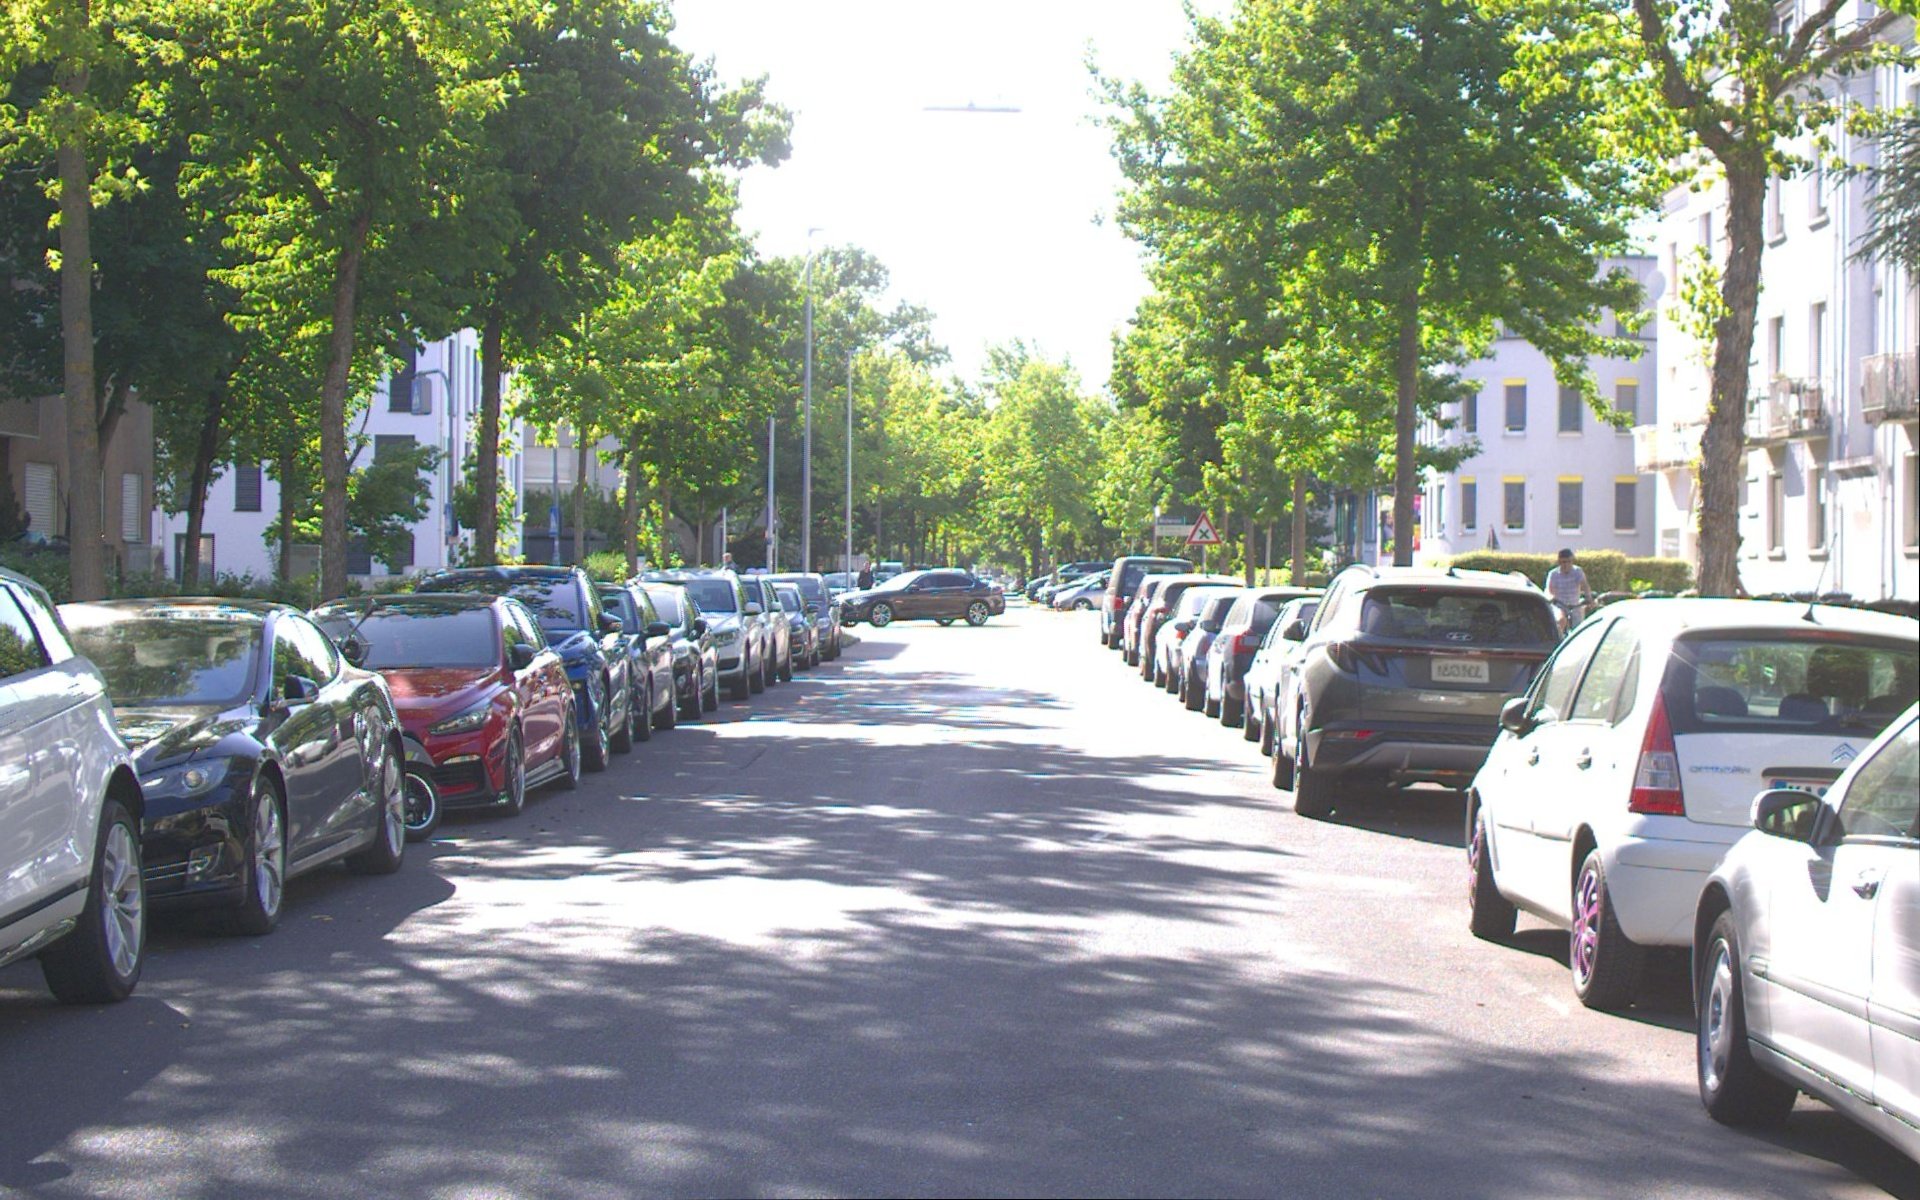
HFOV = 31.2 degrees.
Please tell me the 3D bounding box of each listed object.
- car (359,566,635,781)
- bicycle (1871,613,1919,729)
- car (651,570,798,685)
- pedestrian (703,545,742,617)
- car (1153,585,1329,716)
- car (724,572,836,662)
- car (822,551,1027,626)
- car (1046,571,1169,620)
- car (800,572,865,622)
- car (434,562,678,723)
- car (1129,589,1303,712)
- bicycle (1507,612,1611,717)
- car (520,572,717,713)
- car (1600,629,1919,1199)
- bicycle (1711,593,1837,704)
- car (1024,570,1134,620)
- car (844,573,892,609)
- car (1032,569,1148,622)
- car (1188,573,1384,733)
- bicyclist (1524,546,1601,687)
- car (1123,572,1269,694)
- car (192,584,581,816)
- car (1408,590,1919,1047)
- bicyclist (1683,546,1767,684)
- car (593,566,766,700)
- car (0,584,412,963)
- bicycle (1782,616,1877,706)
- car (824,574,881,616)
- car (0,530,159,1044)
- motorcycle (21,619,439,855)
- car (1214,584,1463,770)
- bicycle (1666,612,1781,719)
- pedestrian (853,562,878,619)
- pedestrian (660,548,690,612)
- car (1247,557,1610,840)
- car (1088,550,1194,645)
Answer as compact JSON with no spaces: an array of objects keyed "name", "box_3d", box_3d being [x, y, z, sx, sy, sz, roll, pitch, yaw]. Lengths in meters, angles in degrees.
[{"name":"car","box_3d":[-3.708,0.540,28.189,1.789,1.561,4.466,-2,0,-2]},{"name":"bicycle","box_3d":[9.675,0.699,33.830,0.803,1.111,2.000,1,0,-2]},{"name":"car","box_3d":[-3.315,0.369,49.018,1.710,1.539,3.930,-1,0,1]},{"name":"pedestrian","box_3d":[-6.597,-0.532,95.705,0.859,2.007,0.981,1,0,9]},{"name":"car","box_3d":[3.349,0.573,41.555,1.788,1.448,3.782,2,0,0]},{"name":"car","box_3d":[-3.304,0.299,63.803,1.839,1.589,4.262,-1,0,0]},{"name":"car","box_3d":[-0.923,-0.294,90.797,5.070,1.816,2.000,1,0,-33]},{"name":"car","box_3d":[4.966,-0.159,116.233,3.986,1.582,1.727,1,0,-3]},{"name":"car","box_3d":[-4.352,-0.128,117.965,1.993,1.665,4.000,1,1,1]},{"name":"car","box_3d":[-3.822,0.372,33.142,1.829,1.448,4.122,0,0,0]},{"name":"car","box_3d":[3.453,0.655,47.149,1.897,1.469,4.699,4,0,-1]},{"name":"bicycle","box_3d":[6.912,0.732,39.748,0.683,1.149,2.403,0,0,-2]},{"name":"car","box_3d":[-3.707,0.435,37.887,1.762,1.439,3.909,-1,0,0]},{"name":"car","box_3d":[2.925,0.852,8.398,1.710,1.406,4.862,2,0,-1]},{"name":"bicycle","box_3d":[9.635,0.559,40.780,0.838,1.253,2.231,1,0,-3]},{"name":"car","box_3d":[4.436,-0.184,128.791,3.986,1.824,2.000,1,0,-1]},{"name":"car","box_3d":[-4.145,-0.405,155.043,1.993,1.579,4.000,1,1,1]},{"name":"car","box_3d":[4.582,-0.176,121.461,3.986,1.799,1.890,1,0,-1]},{"name":"car","box_3d":[3.432,0.520,36.859,1.692,1.535,4.441,2,1,1]},{"name":"bicyclist","box_3d":[6.924,0.188,39.567,0.677,1.604,0.922,0,0,-2]},{"name":"car","box_3d":[3.622,0.474,53.380,1.907,1.693,4.313,4,1,1]},{"name":"car","box_3d":[-3.707,0.595,22.933,1.779,1.374,4.262,-1,0,1]},{"name":"car","box_3d":[2.985,0.778,14.125,1.654,1.527,3.969,3,0,-1]},{"name":"bicyclist","box_3d":[8.700,0.163,39.115,0.676,1.548,1.022,0,0,-2]},{"name":"car","box_3d":[-3.478,0.383,43.318,1.811,1.590,4.233,0,0,0]},{"name":"car","box_3d":[-3.867,0.704,16.084,1.728,1.472,4.619,-3,0,1]},{"name":"bicycle","box_3d":[9.691,0.673,38.379,0.595,0.954,1.903,0,0,1]},{"name":"car","box_3d":[-4.144,-0.205,133.252,1.993,1.579,4.000,1,1,1]},{"name":"car","box_3d":[-3.901,0.621,10.741,1.728,1.612,4.366,-3,0,0]},{"name":"motorcycle","box_3d":[-4.156,0.767,19.718,2.285,1.266,0.808,-1,0,-9]},{"name":"car","box_3d":[3.356,0.639,31.218,1.751,1.449,4.462,3,1,1]},{"name":"bicycle","box_3d":[8.690,0.729,39.217,0.683,1.149,2.403,0,0,-2]},{"name":"pedestrian","box_3d":[-3.135,-0.316,113.959,0.715,1.894,0.837,1,0,-9]},{"name":"pedestrian","box_3d":[-8.900,-0.625,107.540,0.859,2.007,0.981,1,0,-1]},{"name":"car","box_3d":[3.092,0.579,23.705,1.926,1.646,5.094,3,1,2]},{"name":"car","box_3d":[3.826,-0.070,73.486,1.971,1.942,4.985,1,0,0]}]
